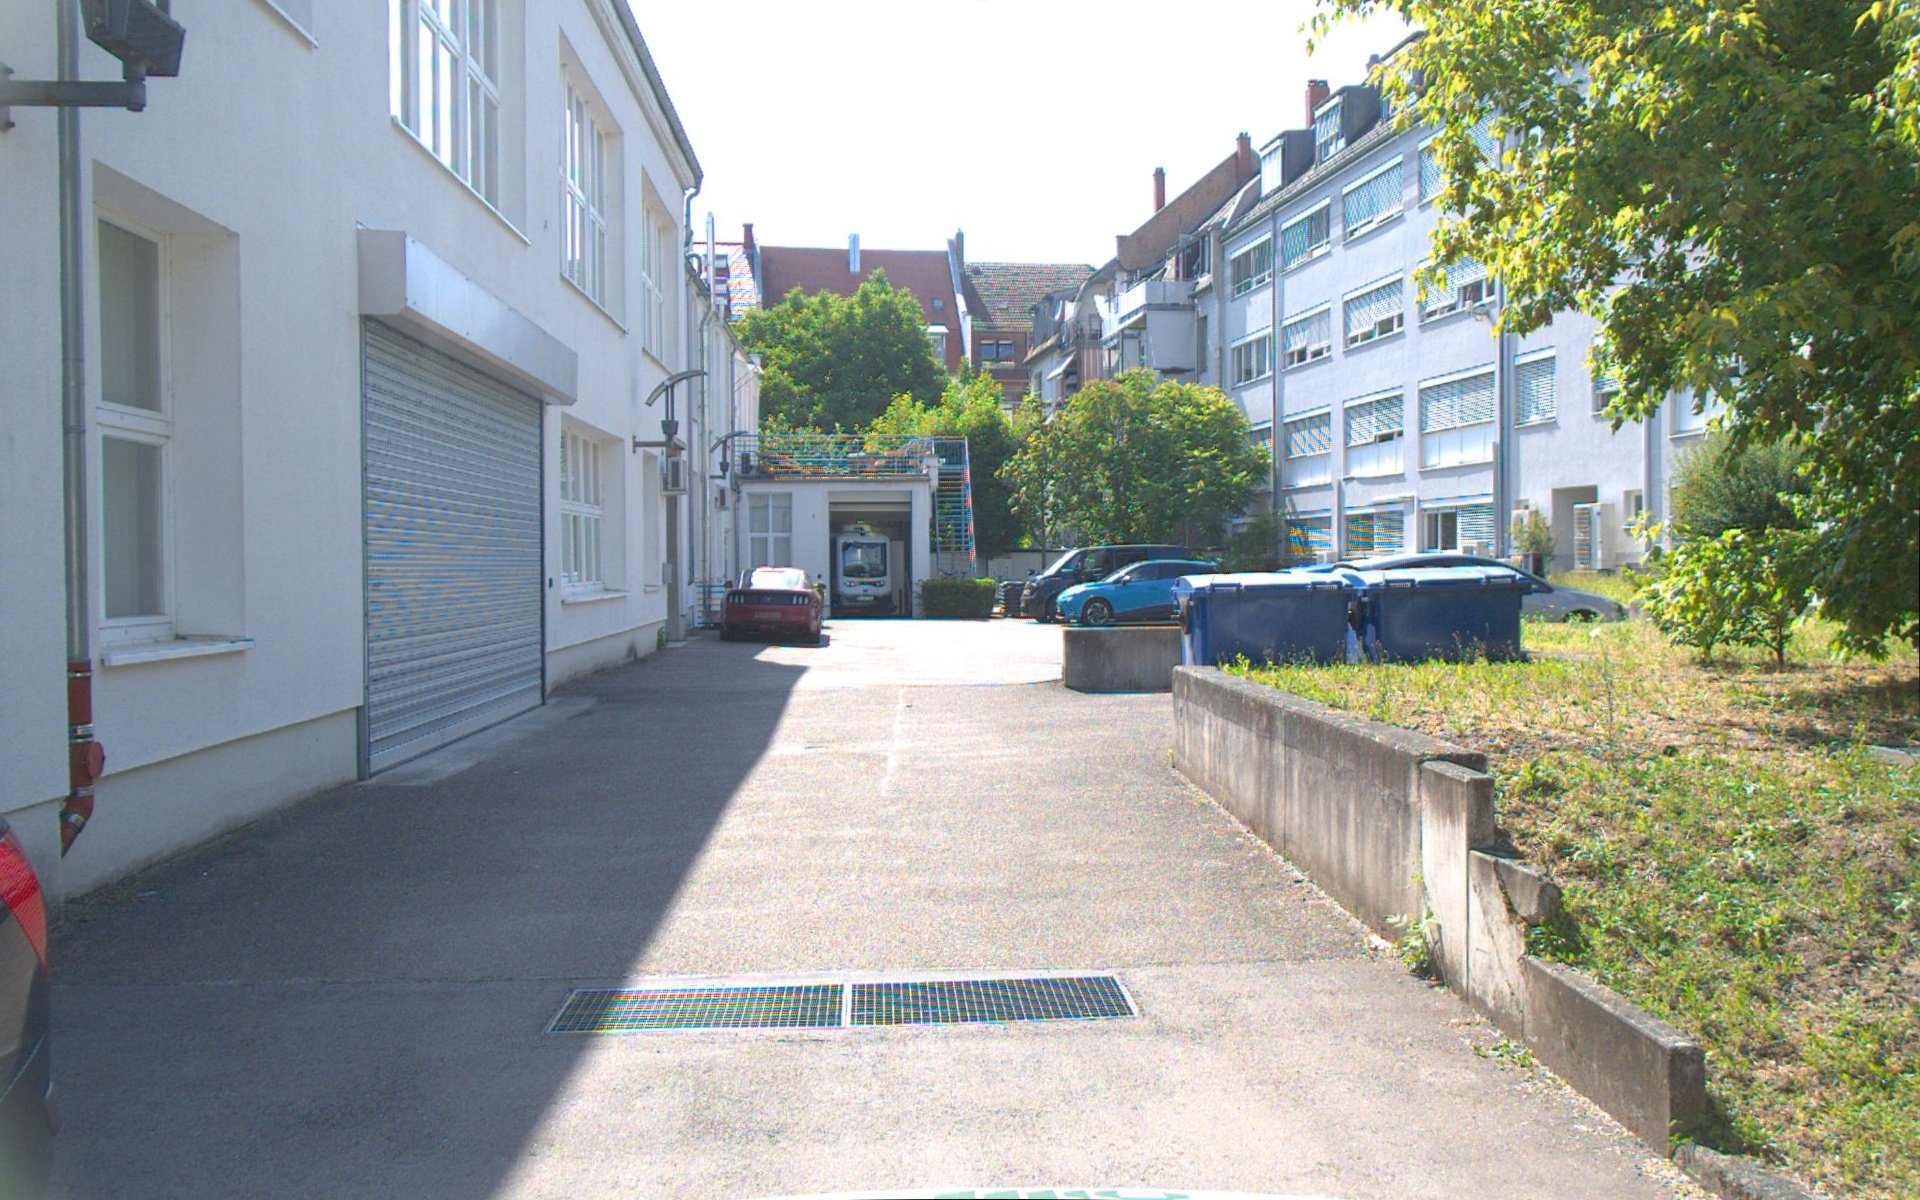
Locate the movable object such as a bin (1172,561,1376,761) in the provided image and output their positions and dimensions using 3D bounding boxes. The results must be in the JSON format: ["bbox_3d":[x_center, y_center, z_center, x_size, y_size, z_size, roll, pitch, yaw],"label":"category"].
[{"bbox_3d":[2.289,0.431,12.244,1.222,1.342,1.142,-3,0,-1],"label":"movable object such as a bin"}]

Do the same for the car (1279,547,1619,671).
[{"bbox_3d":[6.381,0.083,21.811,3.910,1.452,1.810,-2,1,-6],"label":"car"}]

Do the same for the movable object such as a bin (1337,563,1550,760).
[{"bbox_3d":[3.554,0.425,12.277,1.222,1.364,1.142,-1,1,0],"label":"movable object such as a bin"}]

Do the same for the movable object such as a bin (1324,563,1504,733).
[{"bbox_3d":[3.846,0.375,14.102,1.133,1.359,1.141,-1,1,-6],"label":"movable object such as a bin"}]

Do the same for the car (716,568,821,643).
[{"bbox_3d":[-3.668,0.067,32.254,1.815,1.342,3.997,1,1,-4],"label":"car"}]

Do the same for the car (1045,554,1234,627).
[{"bbox_3d":[4.270,-0.245,39.714,4.148,1.558,1.998,-2,2,-7],"label":"car"}]

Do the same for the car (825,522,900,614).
[{"bbox_3d":[-3.029,-0.992,52.124,2.131,2.652,6.731,-2,1,-3],"label":"car"}]

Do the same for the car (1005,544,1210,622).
[{"bbox_3d":[3.819,-0.487,42.941,4.871,1.798,2.088,-2,2,-16],"label":"car"}]

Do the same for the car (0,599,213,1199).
[{"bbox_3d":[-2.199,0.703,0.855,1.800,1.467,4.426,2,0,-4],"label":"car"}]

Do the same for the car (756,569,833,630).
[{"bbox_3d":[-3.874,-0.041,39.217,1.582,1.318,3.757,-2,1,-3],"label":"car"}]

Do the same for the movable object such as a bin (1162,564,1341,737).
[{"bbox_3d":[2.459,0.398,14.089,1.223,1.379,1.127,-1,1,-6],"label":"movable object such as a bin"}]

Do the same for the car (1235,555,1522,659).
[{"bbox_3d":[6.329,0.084,25.235,3.908,1.418,1.688,-2,1,-4],"label":"car"}]
